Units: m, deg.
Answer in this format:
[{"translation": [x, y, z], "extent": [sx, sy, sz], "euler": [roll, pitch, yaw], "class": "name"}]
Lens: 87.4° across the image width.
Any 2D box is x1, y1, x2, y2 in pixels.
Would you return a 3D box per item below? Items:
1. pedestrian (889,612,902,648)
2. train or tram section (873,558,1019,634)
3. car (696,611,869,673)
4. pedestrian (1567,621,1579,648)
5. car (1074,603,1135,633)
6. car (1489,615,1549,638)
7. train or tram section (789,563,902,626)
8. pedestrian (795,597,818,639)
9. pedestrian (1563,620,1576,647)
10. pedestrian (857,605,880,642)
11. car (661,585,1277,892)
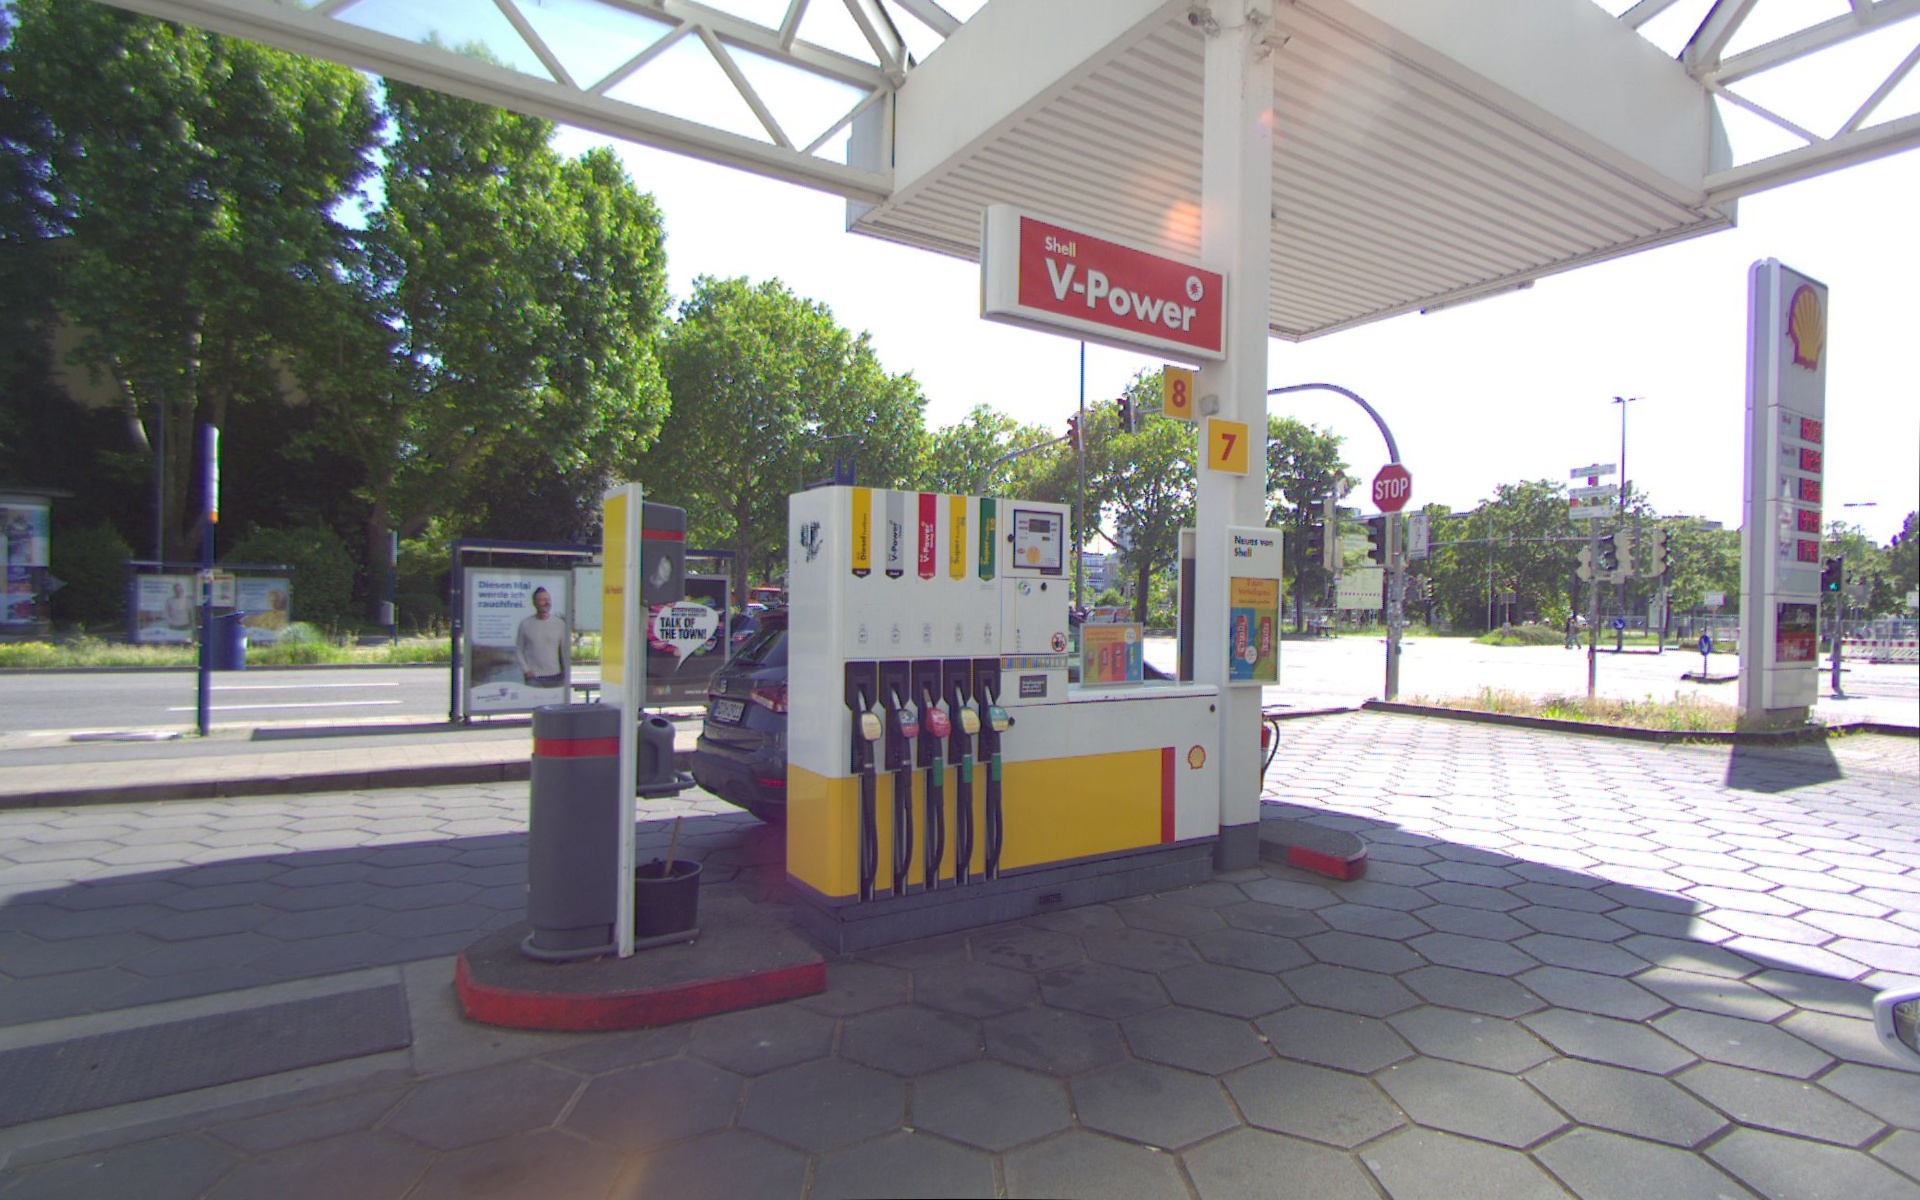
[{"translation": [-3.722, 1.726, 57.828], "extent": [0.691, 2.013, 0.741], "euler": [1, -2, -2], "class": "pedestrian"}, {"translation": [-1.356, -0.250, 67.470], "extent": [2.303, 4.549, 14.811], "euler": [2, -1, -32], "class": "train or tram section"}, {"translation": [-4.466, 1.047, 25.421], "extent": [3.959, 1.385, 1.670], "euler": [2, 1, -33], "class": "car"}, {"translation": [33.960, 1.896, 55.641], "extent": [0.555, 1.488, 0.512], "euler": [1, 0, 33], "class": "pedestrian"}, {"translation": [10.482, 1.342, 73.303], "extent": [1.980, 2.040, 4.405], "euler": [2, -3, -34], "class": "car"}, {"translation": [47.084, 2.231, 84.671], "extent": [1.975, 1.839, 3.972], "euler": [2, -2, -28], "class": "car"}, {"translation": [-9.487, -0.398, 80.436], "extent": [2.303, 4.549, 15.784], "euler": [2, -1, -32], "class": "train or tram section"}, {"translation": [-7.040, 0.822, 45.991], "extent": [0.758, 1.881, 0.723], "euler": [0, -2, 26], "class": "pedestrian"}, {"translation": [34.386, 1.894, 56.671], "extent": [0.555, 1.488, 0.512], "euler": [1, 0, 33], "class": "pedestrian"}, {"translation": [-4.401, 1.150, 48.530], "extent": [0.864, 1.746, 0.678], "euler": [2, -3, -44], "class": "pedestrian"}, {"translation": [0.175, 0.770, 6.914], "extent": [3.957, 1.552, 1.733], "euler": [2, -2, -33], "class": "car"}]
